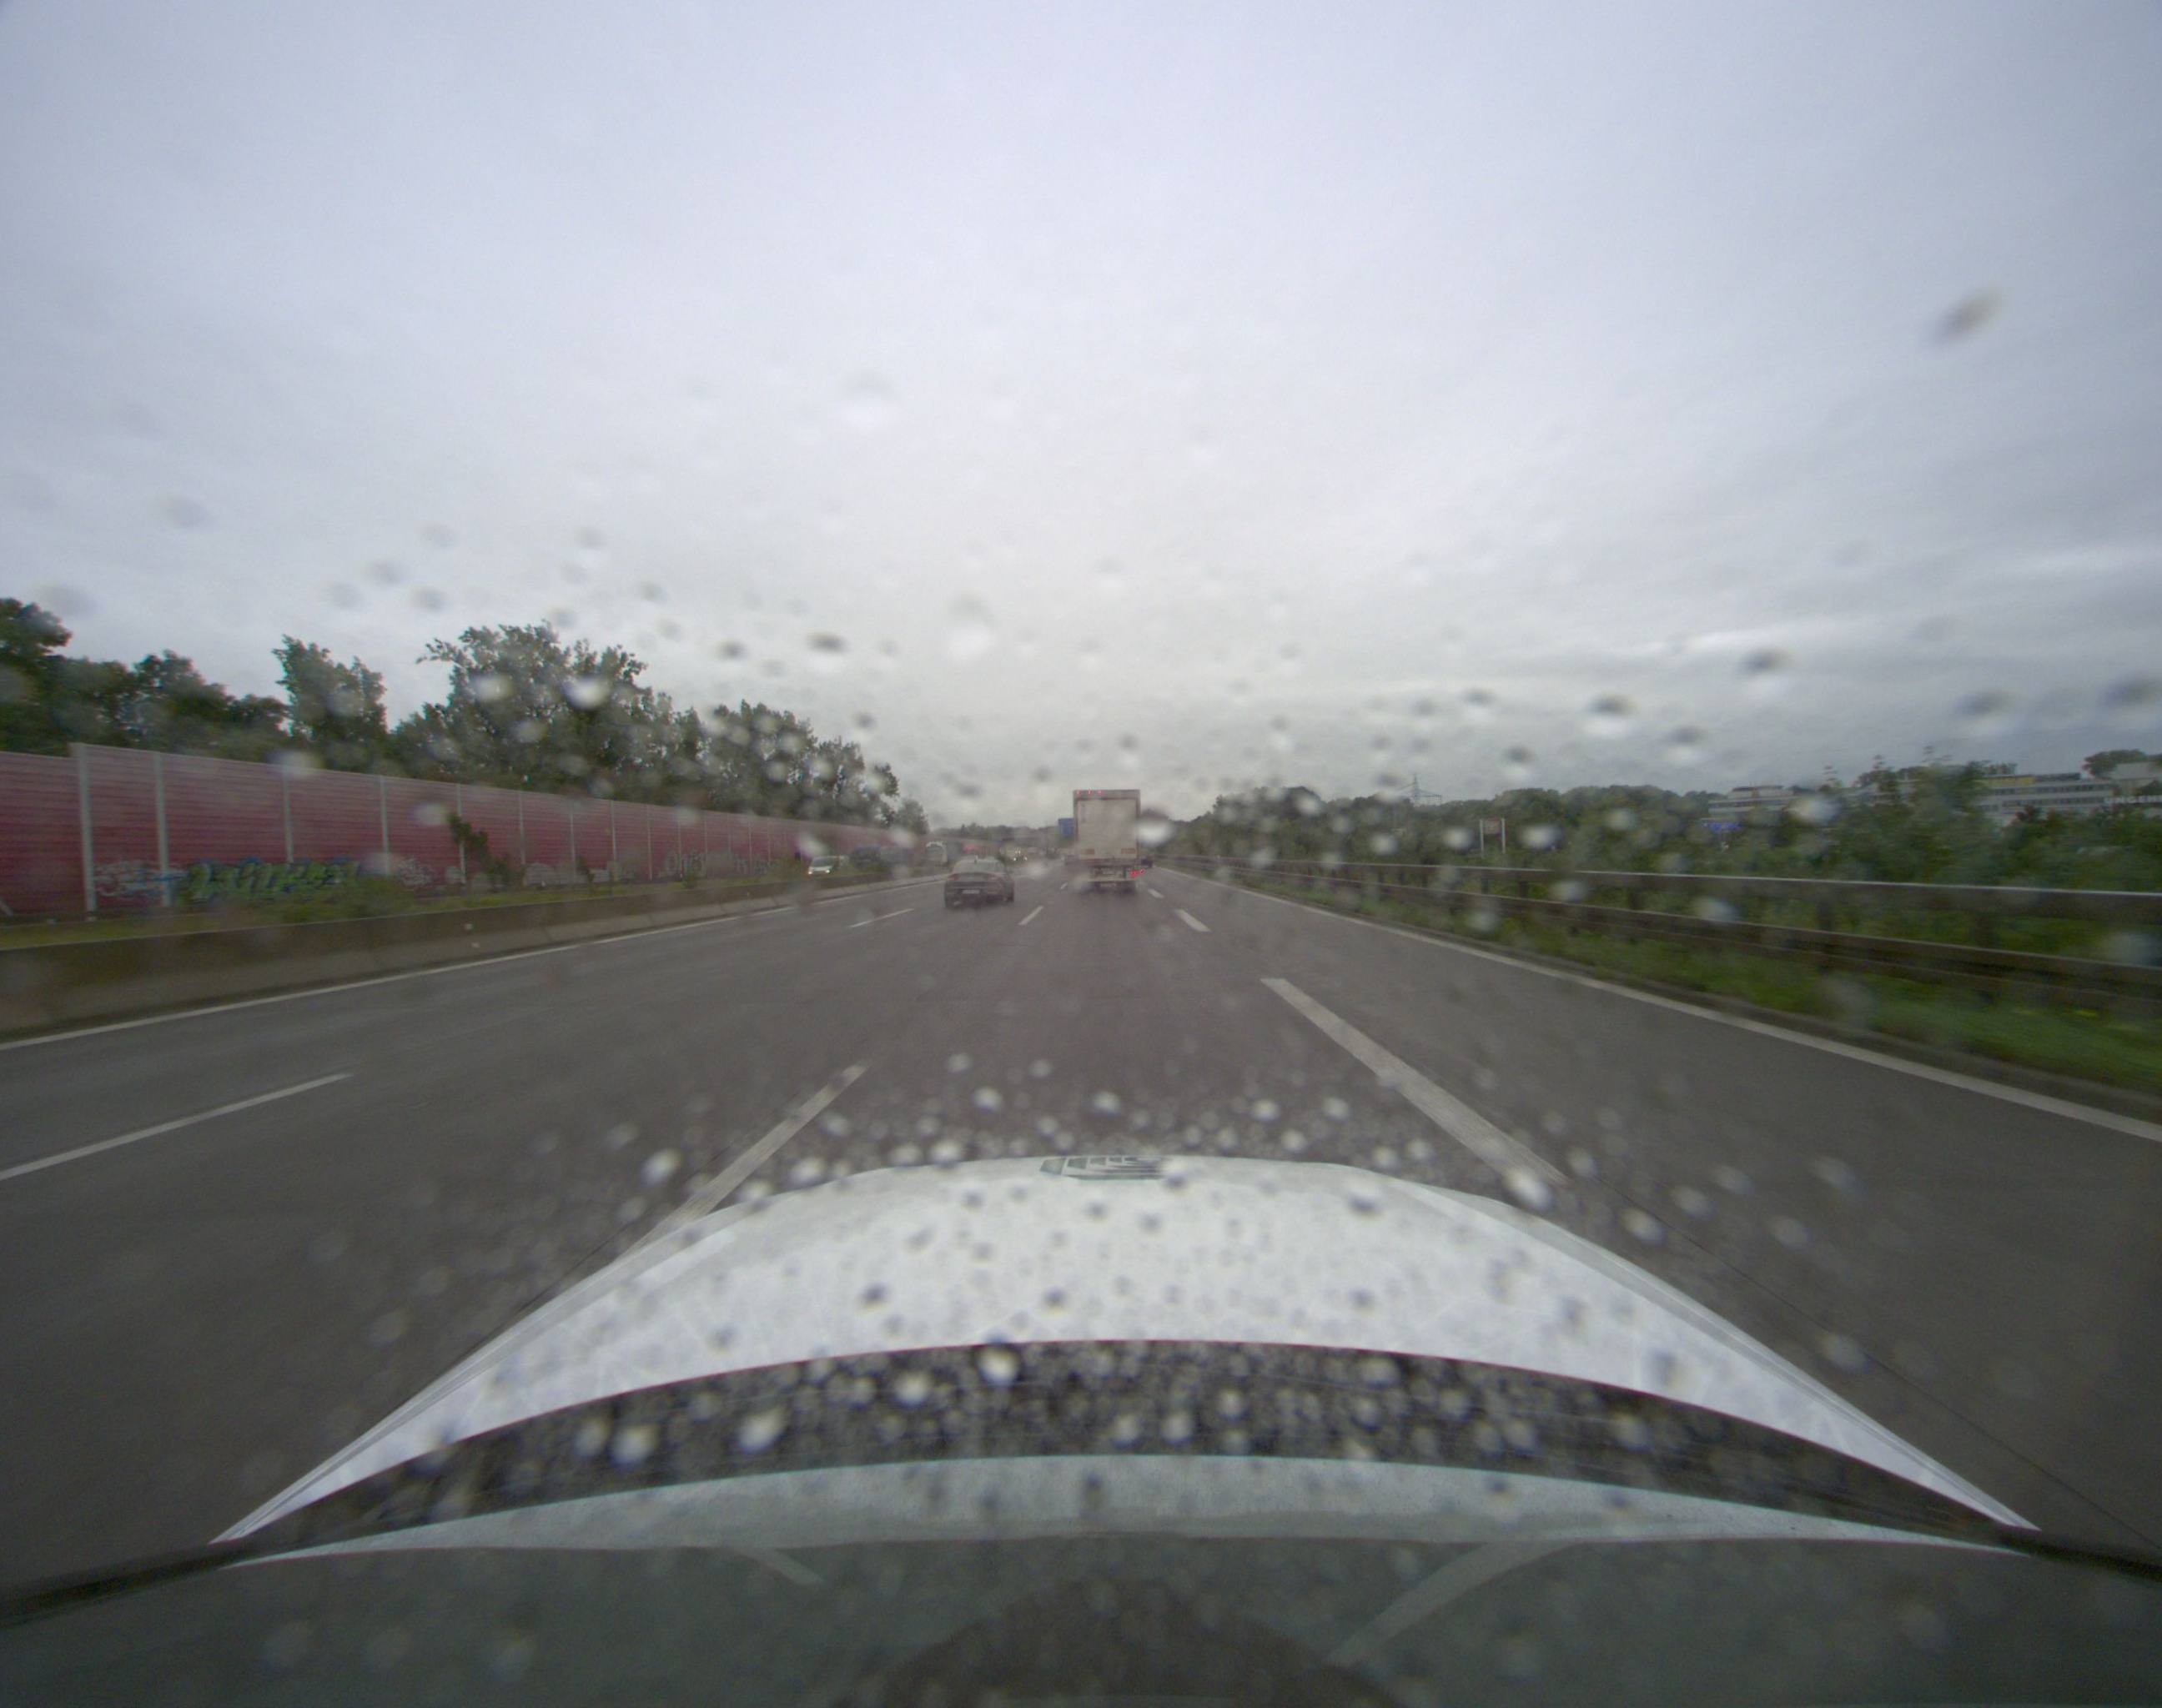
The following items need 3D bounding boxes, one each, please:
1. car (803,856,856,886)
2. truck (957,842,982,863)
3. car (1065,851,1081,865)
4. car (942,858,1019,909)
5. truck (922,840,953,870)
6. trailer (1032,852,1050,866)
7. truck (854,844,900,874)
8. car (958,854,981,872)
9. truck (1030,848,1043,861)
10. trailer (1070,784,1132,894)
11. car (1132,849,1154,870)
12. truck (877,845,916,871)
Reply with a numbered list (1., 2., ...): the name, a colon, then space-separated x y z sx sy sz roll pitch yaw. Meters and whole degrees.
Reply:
1. car: -18.033 1.173 58.575 1.986 2.013 5.136 -1 0 2
2. truck: -19.871 -0.290 145.373 2.771 3.490 10.620 -2 0 1
3. car: -0.988 0.471 105.713 1.887 1.723 4.001 0 0 2
4. car: -3.074 0.861 25.863 1.719 1.403 4.830 -1 0 1
5. truck: -19.820 0.085 112.937 3.035 4.027 6.052 0 0 1
6. trailer: -5.014 0.628 102.150 1.808 1.624 4.570 -1 0 2
7. truck: -24.183 0.523 96.962 2.703 3.350 10.433 0 0 1
8. car: -13.075 1.001 95.640 1.986 2.013 4.792 -1 0 1
9. truck: -10.261 0.140 188.264 2.258 2.828 7.281 0 0 1
10. trailer: 0.999 -0.701 38.376 2.334 4.157 14.833 0 1 2
11. car: 5.718 0.497 75.626 1.889 1.949 4.003 0 0 3
12. truck: -24.099 0.500 106.576 2.962 3.350 8.701 0 0 1
